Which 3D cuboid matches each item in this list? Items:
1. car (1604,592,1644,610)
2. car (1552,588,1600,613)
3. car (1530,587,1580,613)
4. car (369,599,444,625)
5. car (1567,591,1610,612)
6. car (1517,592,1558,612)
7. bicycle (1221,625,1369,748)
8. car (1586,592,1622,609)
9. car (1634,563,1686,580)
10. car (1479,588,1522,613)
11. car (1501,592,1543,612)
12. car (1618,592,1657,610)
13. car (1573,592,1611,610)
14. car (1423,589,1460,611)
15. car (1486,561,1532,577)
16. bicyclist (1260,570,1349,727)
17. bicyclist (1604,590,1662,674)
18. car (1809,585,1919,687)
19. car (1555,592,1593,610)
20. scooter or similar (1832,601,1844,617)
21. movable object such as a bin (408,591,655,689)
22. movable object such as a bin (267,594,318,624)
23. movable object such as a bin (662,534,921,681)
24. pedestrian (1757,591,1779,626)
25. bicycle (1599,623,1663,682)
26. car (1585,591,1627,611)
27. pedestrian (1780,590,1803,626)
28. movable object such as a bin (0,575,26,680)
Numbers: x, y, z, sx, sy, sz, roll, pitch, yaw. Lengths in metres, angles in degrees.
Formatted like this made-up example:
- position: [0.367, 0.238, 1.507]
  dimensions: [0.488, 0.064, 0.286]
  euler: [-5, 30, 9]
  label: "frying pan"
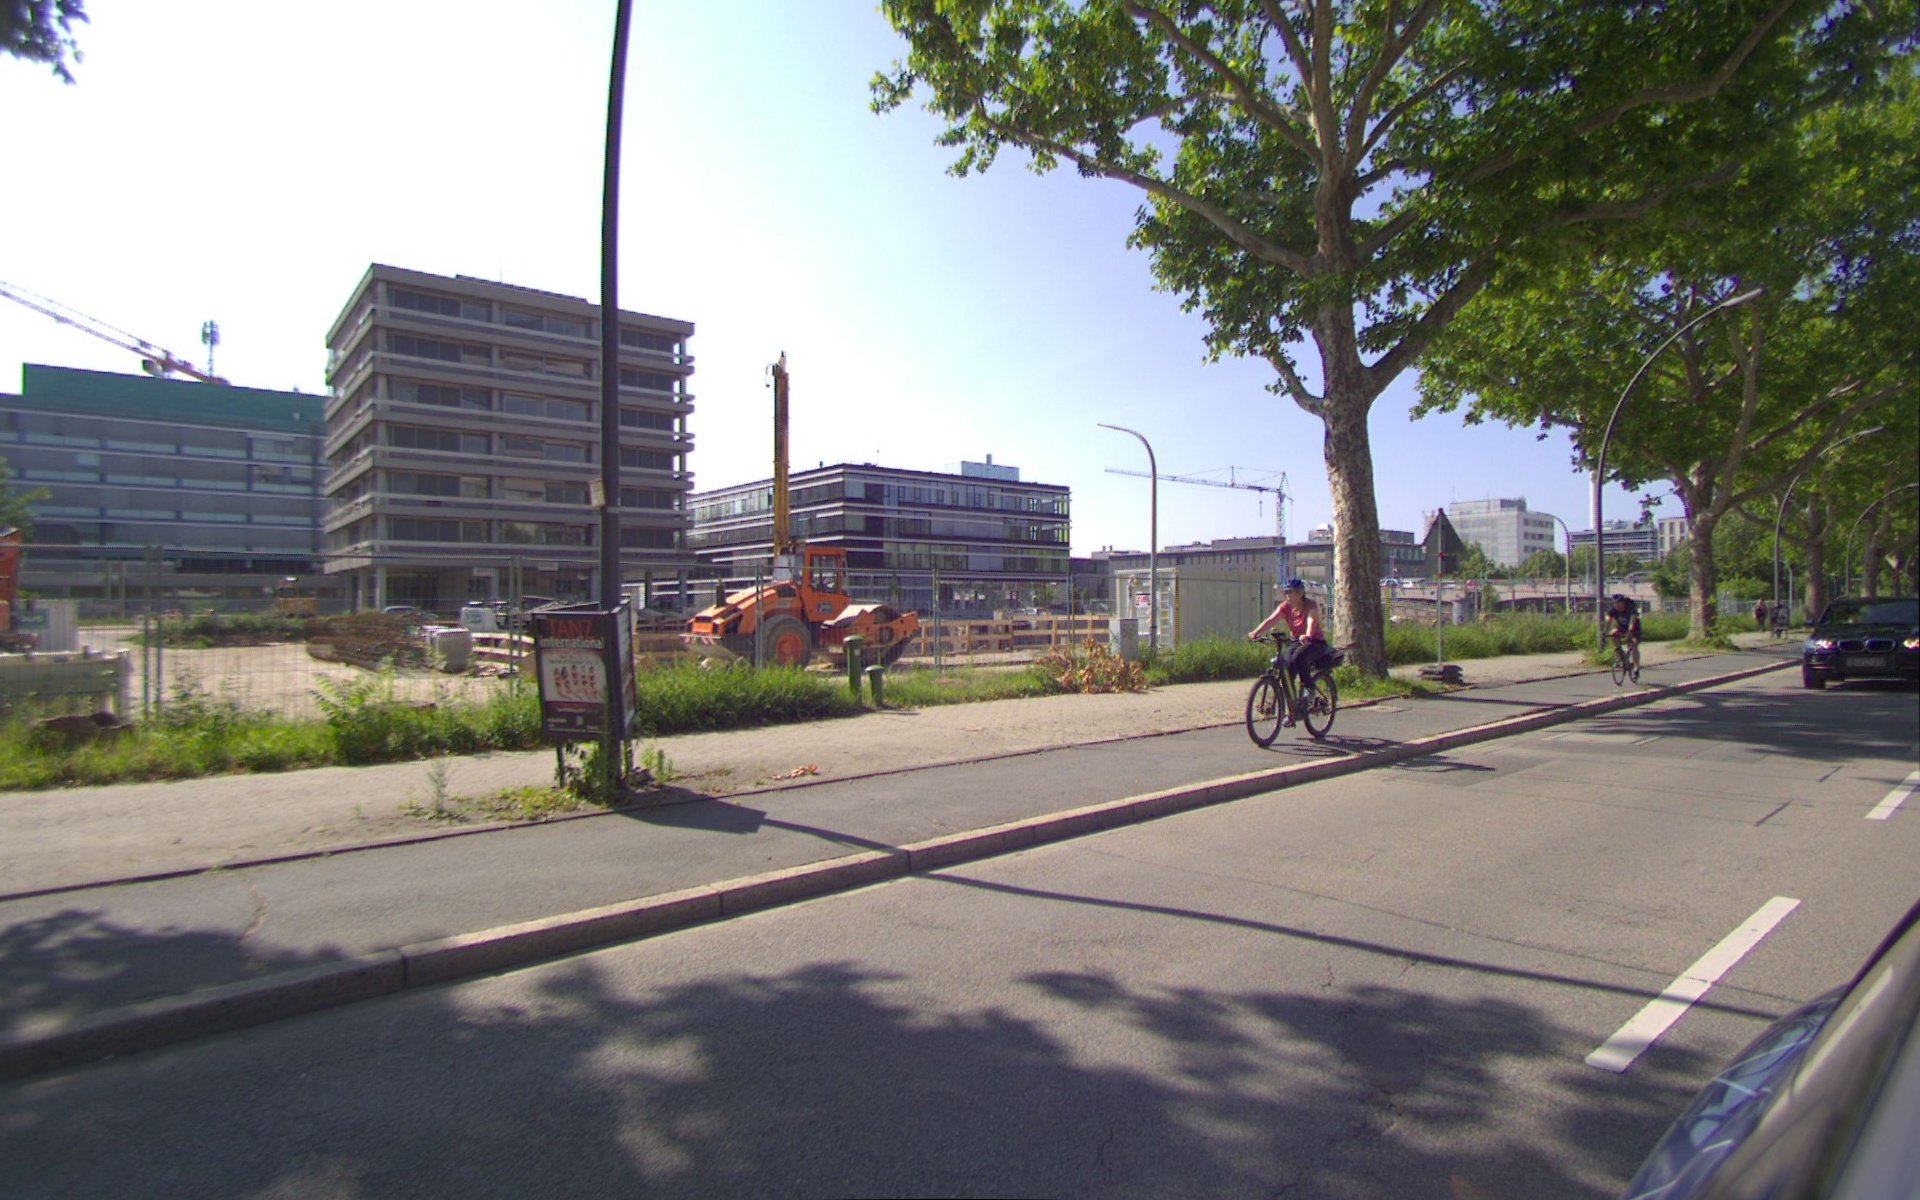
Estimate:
- position: [84.565, 0.142, 128.959]
  dimensions: [1.779, 2.352, 3.989]
  euler: [0, -1, -44]
  label: "car"
- position: [69.886, 0.035, 114.868]
  dimensions: [1.779, 2.774, 4.366]
  euler: [1, -1, -44]
  label: "car"
- position: [64.759, 0.064, 110.231]
  dimensions: [1.779, 2.774, 4.366]
  euler: [1, -1, -44]
  label: "car"
- position: [-38.971, 0.811, 71.291]
  dimensions: [4.356, 1.794, 1.795]
  euler: [0, 0, -40]
  label: "car"
- position: [73.853, 0.204, 118.918]
  dimensions: [1.779, 2.352, 3.989]
  euler: [0, -1, -44]
  label: "car"
- position: [70.047, 0.228, 122.798]
  dimensions: [1.779, 2.352, 3.989]
  euler: [0, -1, -44]
  label: "car"
- position: [3.612, 0.869, 10.825]
  dimensions: [1.912, 1.143, 0.652]
  euler: [0, 1, -42]
  label: "bicycle"
- position: [90.521, 0.109, 142.292]
  dimensions: [1.779, 2.352, 3.989]
  euler: [0, -1, -44]
  label: "car"
- position: [68.983, -2.824, 99.775]
  dimensions: [1.779, 1.529, 3.989]
  euler: [0, -1, -44]
  label: "car"
- position: [61.078, 0.068, 114.400]
  dimensions: [1.779, 2.774, 3.989]
  euler: [1, -1, -44]
  label: "car"
- position: [66.089, 0.250, 119.034]
  dimensions: [1.779, 2.352, 3.989]
  euler: [0, -1, -44]
  label: "car"
- position: [89.385, 0.114, 133.476]
  dimensions: [1.779, 2.352, 3.989]
  euler: [0, -1, -44]
  label: "car"
- position: [85.742, 0.137, 137.309]
  dimensions: [1.779, 2.352, 3.989]
  euler: [0, -1, -44]
  label: "car"
- position: [62.903, 0.058, 132.290]
  dimensions: [1.779, 2.774, 3.989]
  euler: [1, -1, -44]
  label: "car"
- position: [58.402, -3.311, 107.723]
  dimensions: [1.779, 1.529, 3.989]
  euler: [0, -1, -44]
  label: "car"
- position: [3.710, 0.492, 10.898]
  dimensions: [0.720, 1.620, 0.620]
  euler: [1, 1, -43]
  label: "bicyclist"
- position: [12.605, 0.573, 18.946]
  dimensions: [1.194, 1.508, 0.599]
  euler: [0, 2, -43]
  label: "bicyclist"
- position: [17.799, 0.631, 19.222]
  dimensions: [4.080, 1.753, 1.922]
  euler: [0, -2, -42]
  label: "car"
- position: [80.624, 0.166, 132.911]
  dimensions: [1.779, 2.352, 3.989]
  euler: [0, -1, -44]
  label: "car"
- position: [63.153, 0.653, 72.776]
  dimensions: [1.108, 1.136, 0.482]
  euler: [0, -1, -42]
  label: "scooter or similar"
- position: [-24.632, 2.235, 59.055]
  dimensions: [11.556, 5.242, 6.753]
  euler: [-1, -1, 2]
  label: "movable object such as a bin"
- position: [-47.230, 0.614, 71.626]
  dimensions: [2.623, 2.039, 2.754]
  euler: [0, 0, -42]
  label: "movable object such as a bin"
- position: [-3.909, 0.175, 24.373]
  dimensions: [5.887, 3.111, 2.370]
  euler: [0, -1, -45]
  label: "movable object such as a bin"
- position: [40.002, 0.415, 50.083]
  dimensions: [0.943, 1.705, 0.696]
  euler: [1, -1, -43]
  label: "pedestrian"
- position: [12.566, 0.961, 18.929]
  dimensions: [1.751, 0.992, 0.598]
  euler: [0, 2, -43]
  label: "bicycle"
- position: [79.470, 0.172, 124.495]
  dimensions: [1.779, 2.352, 3.989]
  euler: [0, -1, -44]
  label: "car"
- position: [40.451, 0.385, 49.208]
  dimensions: [1.048, 1.746, 0.710]
  euler: [1, -1, -43]
  label: "pedestrian"
- position: [-30.279, 0.848, 30.249]
  dimensions: [3.236, 3.013, 5.184]
  euler: [0, -1, -40]
  label: "movable object such as a bin"
